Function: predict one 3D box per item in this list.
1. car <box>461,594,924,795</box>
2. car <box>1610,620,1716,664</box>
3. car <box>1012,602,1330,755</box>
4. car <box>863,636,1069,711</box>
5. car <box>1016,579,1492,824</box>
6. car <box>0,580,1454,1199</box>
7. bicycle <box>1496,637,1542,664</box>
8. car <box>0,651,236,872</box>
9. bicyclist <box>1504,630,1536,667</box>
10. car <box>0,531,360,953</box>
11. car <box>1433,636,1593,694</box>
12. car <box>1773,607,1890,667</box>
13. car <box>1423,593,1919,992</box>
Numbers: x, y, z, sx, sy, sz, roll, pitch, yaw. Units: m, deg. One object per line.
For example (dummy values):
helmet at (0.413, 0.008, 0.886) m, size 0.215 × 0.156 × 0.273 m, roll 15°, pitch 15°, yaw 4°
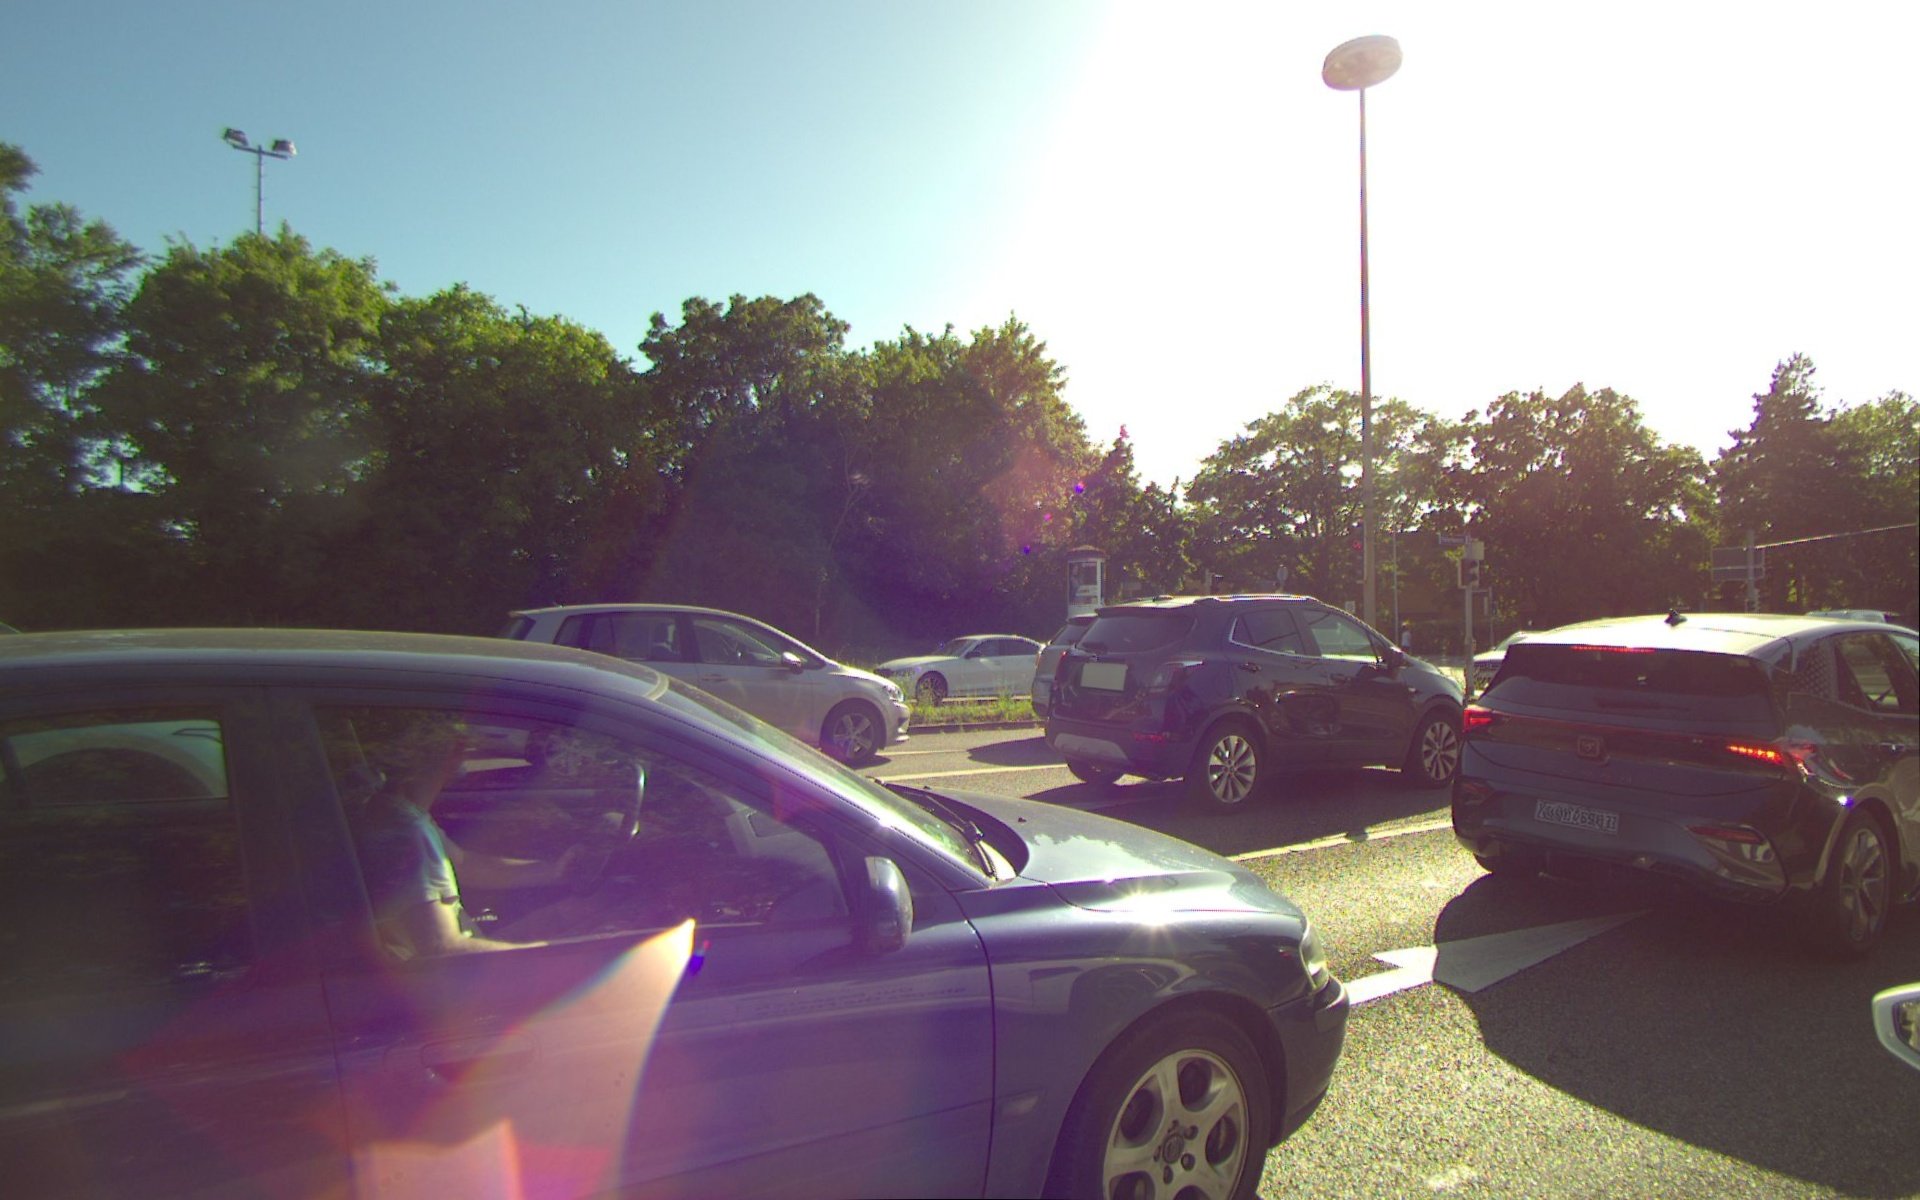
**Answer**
car at (-2.609, 0.832, 10.012) m, size 4.156 × 1.632 × 1.822 m, roll 1°, pitch -2°, yaw -30°
car at (25.848, 1.528, 36.903) m, size 3.956 × 1.529 × 1.678 m, roll 1°, pitch -2°, yaw -30°
car at (2.815, 0.950, 13.188) m, size 3.956 × 1.724 × 1.820 m, roll 1°, pitch -2°, yaw -32°
car at (0.163, 1.510, 21.496) m, size 4.171 × 1.475 × 1.634 m, roll 1°, pitch -2°, yaw -30°
car at (2.624, 0.767, 8.801) m, size 3.953 × 1.711 × 1.796 m, roll 1°, pitch -2°, yaw -30°
car at (-1.092, 0.724, 2.208) m, size 4.404 × 1.471 × 1.767 m, roll 2°, pitch 0°, yaw -30°
bicycle at (26.200, 2.368, 47.065) m, size 2.511 × 1.228 × 0.870 m, roll 1°, pitch -2°, yaw -35°
car at (-7.909, 1.109, 6.949) m, size 4.499 × 1.448 × 1.822 m, roll 1°, pitch -2°, yaw -30°
bicyclist at (26.170, 2.260, 46.978) m, size 1.188 × 1.670 × 0.870 m, roll 1°, pitch -2°, yaw -36°
car at (-5.277, 0.594, 4.498) m, size 4.373 × 1.732 × 1.984 m, roll 1°, pitch -2°, yaw -30°
car at (14.853, 1.691, 26.922) m, size 4.561 × 1.452 × 1.678 m, roll 1°, pitch -2°, yaw -30°
car at (38.473, 1.630, 44.313) m, size 5.934 × 2.525 × 2.090 m, roll 1°, pitch -2°, yaw -30°
car at (4.744, 0.826, 5.822) m, size 4.158 × 1.601 × 1.676 m, roll 2°, pitch -1°, yaw -30°
